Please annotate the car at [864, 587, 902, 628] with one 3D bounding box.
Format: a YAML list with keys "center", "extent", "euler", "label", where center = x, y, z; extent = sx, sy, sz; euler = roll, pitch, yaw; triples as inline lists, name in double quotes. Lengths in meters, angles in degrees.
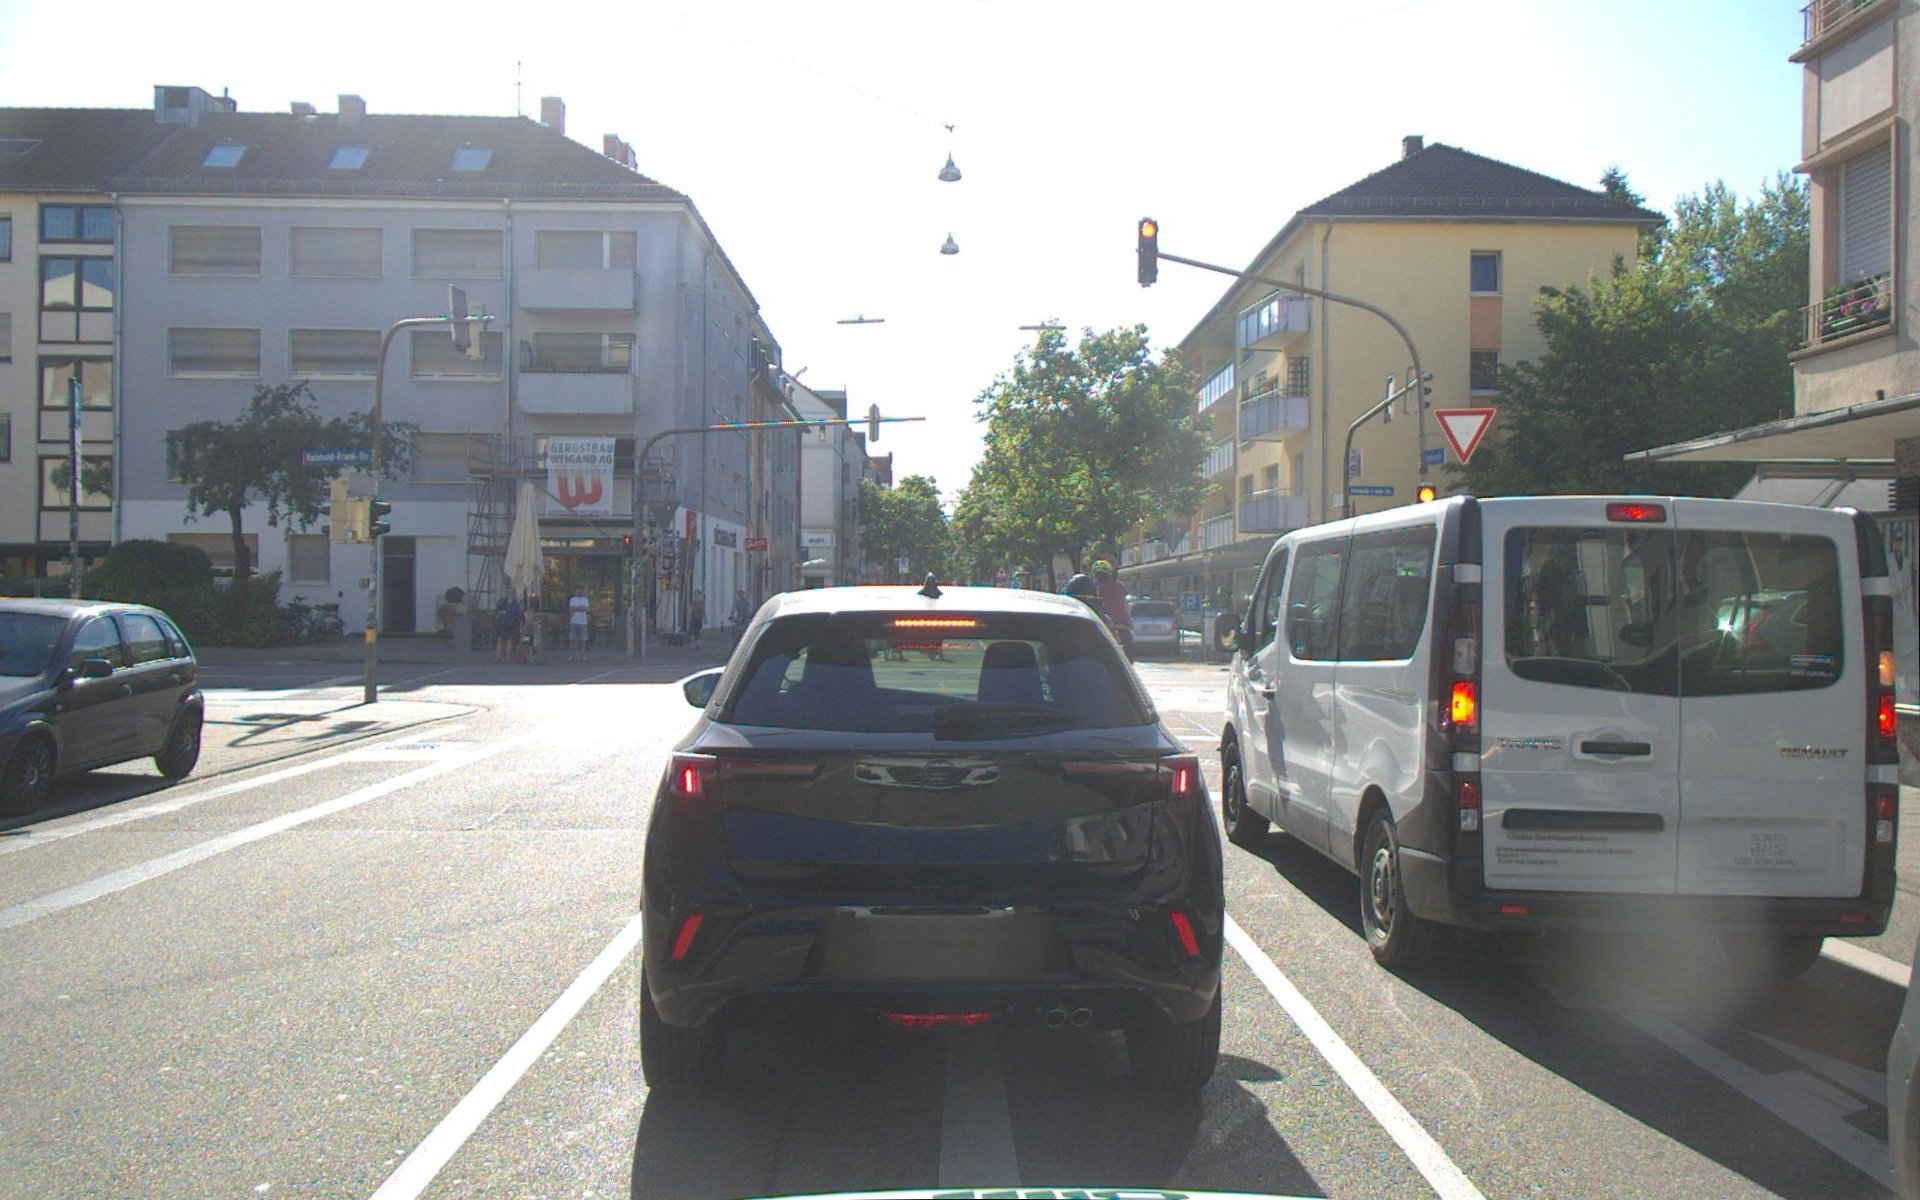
- center: [-3.906, 0.357, 84.394]
  extent: [1.817, 2.049, 3.880]
  euler: [0, 0, -1]
  label: "car"

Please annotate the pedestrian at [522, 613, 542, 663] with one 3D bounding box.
- center: [-9.651, 0.846, 37.303]
  extent: [0.348, 1.111, 0.461]
  euler: [0, 0, -4]
  label: "pedestrian"

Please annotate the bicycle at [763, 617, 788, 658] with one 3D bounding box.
- center: [-4.880, 0.984, 43.854]
  extent: [0.511, 1.010, 2.338]
  euler: [0, 0, -3]
  label: "bicycle"

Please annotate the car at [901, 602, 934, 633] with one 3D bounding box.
- center: [-2.468, 1.033, 97.255]
  extent: [1.787, 1.758, 4.000]
  euler: [0, 0, 1]
  label: "car"

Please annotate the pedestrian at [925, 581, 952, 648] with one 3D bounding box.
- center: [-0.564, 0.369, 43.406]
  extent: [0.692, 1.731, 0.802]
  euler: [0, 0, -3]
  label: "pedestrian"

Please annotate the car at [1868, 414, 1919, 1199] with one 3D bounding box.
- center: [3.011, 0.569, 1.236]
  extent: [1.799, 1.901, 4.994]
  euler: [0, 0, -2]
  label: "car"

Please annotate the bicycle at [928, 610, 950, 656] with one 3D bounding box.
- center: [-0.553, 0.848, 43.455]
  extent: [0.511, 1.167, 2.169]
  euler: [0, 0, -3]
  label: "bicycle"

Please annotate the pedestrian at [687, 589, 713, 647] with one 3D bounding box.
- center: [-7.043, 0.485, 44.814]
  extent: [0.605, 1.547, 0.724]
  euler: [0, 0, -4]
  label: "pedestrian"

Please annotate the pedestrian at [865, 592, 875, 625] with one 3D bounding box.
- center: [-4.678, 0.433, 86.182]
  extent: [0.478, 1.719, 0.588]
  euler: [0, 0, -1]
  label: "pedestrian"

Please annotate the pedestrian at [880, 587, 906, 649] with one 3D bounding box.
- center: [-1.773, 0.473, 43.761]
  extent: [0.666, 1.634, 0.762]
  euler: [0, 0, -3]
  label: "pedestrian"

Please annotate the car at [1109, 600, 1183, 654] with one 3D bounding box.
- center: [5.284, 0.735, 47.318]
  extent: [1.601, 1.458, 3.956]
  euler: [0, 0, -1]
  label: "car"

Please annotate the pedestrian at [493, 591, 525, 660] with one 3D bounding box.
- center: [-10.161, 0.567, 37.285]
  extent: [0.573, 1.547, 0.649]
  euler: [0, 0, -4]
  label: "pedestrian"

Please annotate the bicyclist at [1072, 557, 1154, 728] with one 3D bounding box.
- center: [1.606, 0.433, 17.558]
  extent: [0.675, 1.742, 1.413]
  euler: [0, 0, -3]
  label: "bicyclist"

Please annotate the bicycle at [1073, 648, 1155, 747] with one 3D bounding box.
- center: [1.620, 1.006, 17.686]
  extent: [0.565, 0.920, 2.300]
  euler: [0, 0, -3]
  label: "bicycle"

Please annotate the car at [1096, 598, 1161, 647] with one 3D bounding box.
- center: [5.254, 0.668, 51.943]
  extent: [1.601, 1.458, 3.999]
  euler: [0, 0, -1]
  label: "car"

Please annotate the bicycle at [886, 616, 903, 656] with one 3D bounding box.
- center: [-1.738, 0.949, 43.838]
  extent: [0.434, 1.010, 2.068]
  euler: [0, 0, -3]
  label: "bicycle"

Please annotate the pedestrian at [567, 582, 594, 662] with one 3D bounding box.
- center: [-8.703, 0.503, 37.924]
  extent: [0.550, 1.806, 0.582]
  euler: [1, 0, -9]
  label: "pedestrian"

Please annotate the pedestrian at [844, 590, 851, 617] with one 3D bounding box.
- center: [-7.119, 0.196, 104.530]
  extent: [0.394, 1.704, 0.417]
  euler: [0, 0, -1]
  label: "pedestrian"

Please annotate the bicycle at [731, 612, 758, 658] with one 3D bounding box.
- center: [-5.718, 0.902, 43.898]
  extent: [0.511, 1.167, 2.282]
  euler: [0, 0, -3]
  label: "bicycle"

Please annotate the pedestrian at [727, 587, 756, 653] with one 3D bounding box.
- center: [-5.748, 0.525, 43.534]
  extent: [0.692, 1.707, 0.802]
  euler: [0, 0, -3]
  label: "pedestrian"

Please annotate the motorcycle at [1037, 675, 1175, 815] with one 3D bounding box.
- center: [1.037, 1.033, 12.201]
  extent: [0.808, 0.860, 1.884]
  euler: [0, 0, -1]
  label: "motorcycle"

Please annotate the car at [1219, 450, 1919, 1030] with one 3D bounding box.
- center: [2.723, 0.497, 8.365]
  extent: [1.953, 2.014, 4.894]
  euler: [2, 0, -1]
  label: "car"

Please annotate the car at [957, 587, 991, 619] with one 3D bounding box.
- center: [0.783, 0.171, 93.949]
  extent: [1.863, 1.758, 4.000]
  euler: [0, 0, 0]
  label: "car"

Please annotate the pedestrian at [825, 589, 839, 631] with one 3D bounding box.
- center: [-5.368, 0.415, 69.389]
  extent: [0.558, 1.719, 0.588]
  euler: [0, 0, -1]
  label: "pedestrian"

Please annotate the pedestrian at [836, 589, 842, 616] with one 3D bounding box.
- center: [-7.669, 0.183, 104.927]
  extent: [0.394, 1.704, 0.417]
  euler: [0, 0, -1]
  label: "pedestrian"

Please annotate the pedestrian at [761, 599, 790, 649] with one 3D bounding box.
- center: [-4.848, 0.626, 43.521]
  extent: [0.692, 1.275, 0.802]
  euler: [0, 0, -3]
  label: "pedestrian"

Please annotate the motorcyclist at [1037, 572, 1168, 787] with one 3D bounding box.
- center: [1.045, 0.565, 12.386]
  extent: [0.846, 1.528, 1.159]
  euler: [0, 0, -2]
  label: "motorcyclist"

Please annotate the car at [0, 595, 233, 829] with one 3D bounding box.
- center: [-7.065, 0.728, 12.420]
  extent: [1.584, 1.450, 3.709]
  euler: [3, 0, -1]
  label: "car"

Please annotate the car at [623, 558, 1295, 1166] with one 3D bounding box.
- center: [-0.080, 0.666, 6.281]
  extent: [1.735, 1.557, 3.998]
  euler: [0, 0, -3]
  label: "car"

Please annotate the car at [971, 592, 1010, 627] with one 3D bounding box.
- center: [1.521, 0.465, 83.772]
  extent: [1.863, 1.758, 4.073]
  euler: [0, 0, 0]
  label: "car"

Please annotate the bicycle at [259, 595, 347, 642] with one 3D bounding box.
- center: [-16.896, 0.474, 42.529]
  extent: [2.067, 1.193, 0.735]
  euler: [0, 0, -25]
  label: "bicycle"
